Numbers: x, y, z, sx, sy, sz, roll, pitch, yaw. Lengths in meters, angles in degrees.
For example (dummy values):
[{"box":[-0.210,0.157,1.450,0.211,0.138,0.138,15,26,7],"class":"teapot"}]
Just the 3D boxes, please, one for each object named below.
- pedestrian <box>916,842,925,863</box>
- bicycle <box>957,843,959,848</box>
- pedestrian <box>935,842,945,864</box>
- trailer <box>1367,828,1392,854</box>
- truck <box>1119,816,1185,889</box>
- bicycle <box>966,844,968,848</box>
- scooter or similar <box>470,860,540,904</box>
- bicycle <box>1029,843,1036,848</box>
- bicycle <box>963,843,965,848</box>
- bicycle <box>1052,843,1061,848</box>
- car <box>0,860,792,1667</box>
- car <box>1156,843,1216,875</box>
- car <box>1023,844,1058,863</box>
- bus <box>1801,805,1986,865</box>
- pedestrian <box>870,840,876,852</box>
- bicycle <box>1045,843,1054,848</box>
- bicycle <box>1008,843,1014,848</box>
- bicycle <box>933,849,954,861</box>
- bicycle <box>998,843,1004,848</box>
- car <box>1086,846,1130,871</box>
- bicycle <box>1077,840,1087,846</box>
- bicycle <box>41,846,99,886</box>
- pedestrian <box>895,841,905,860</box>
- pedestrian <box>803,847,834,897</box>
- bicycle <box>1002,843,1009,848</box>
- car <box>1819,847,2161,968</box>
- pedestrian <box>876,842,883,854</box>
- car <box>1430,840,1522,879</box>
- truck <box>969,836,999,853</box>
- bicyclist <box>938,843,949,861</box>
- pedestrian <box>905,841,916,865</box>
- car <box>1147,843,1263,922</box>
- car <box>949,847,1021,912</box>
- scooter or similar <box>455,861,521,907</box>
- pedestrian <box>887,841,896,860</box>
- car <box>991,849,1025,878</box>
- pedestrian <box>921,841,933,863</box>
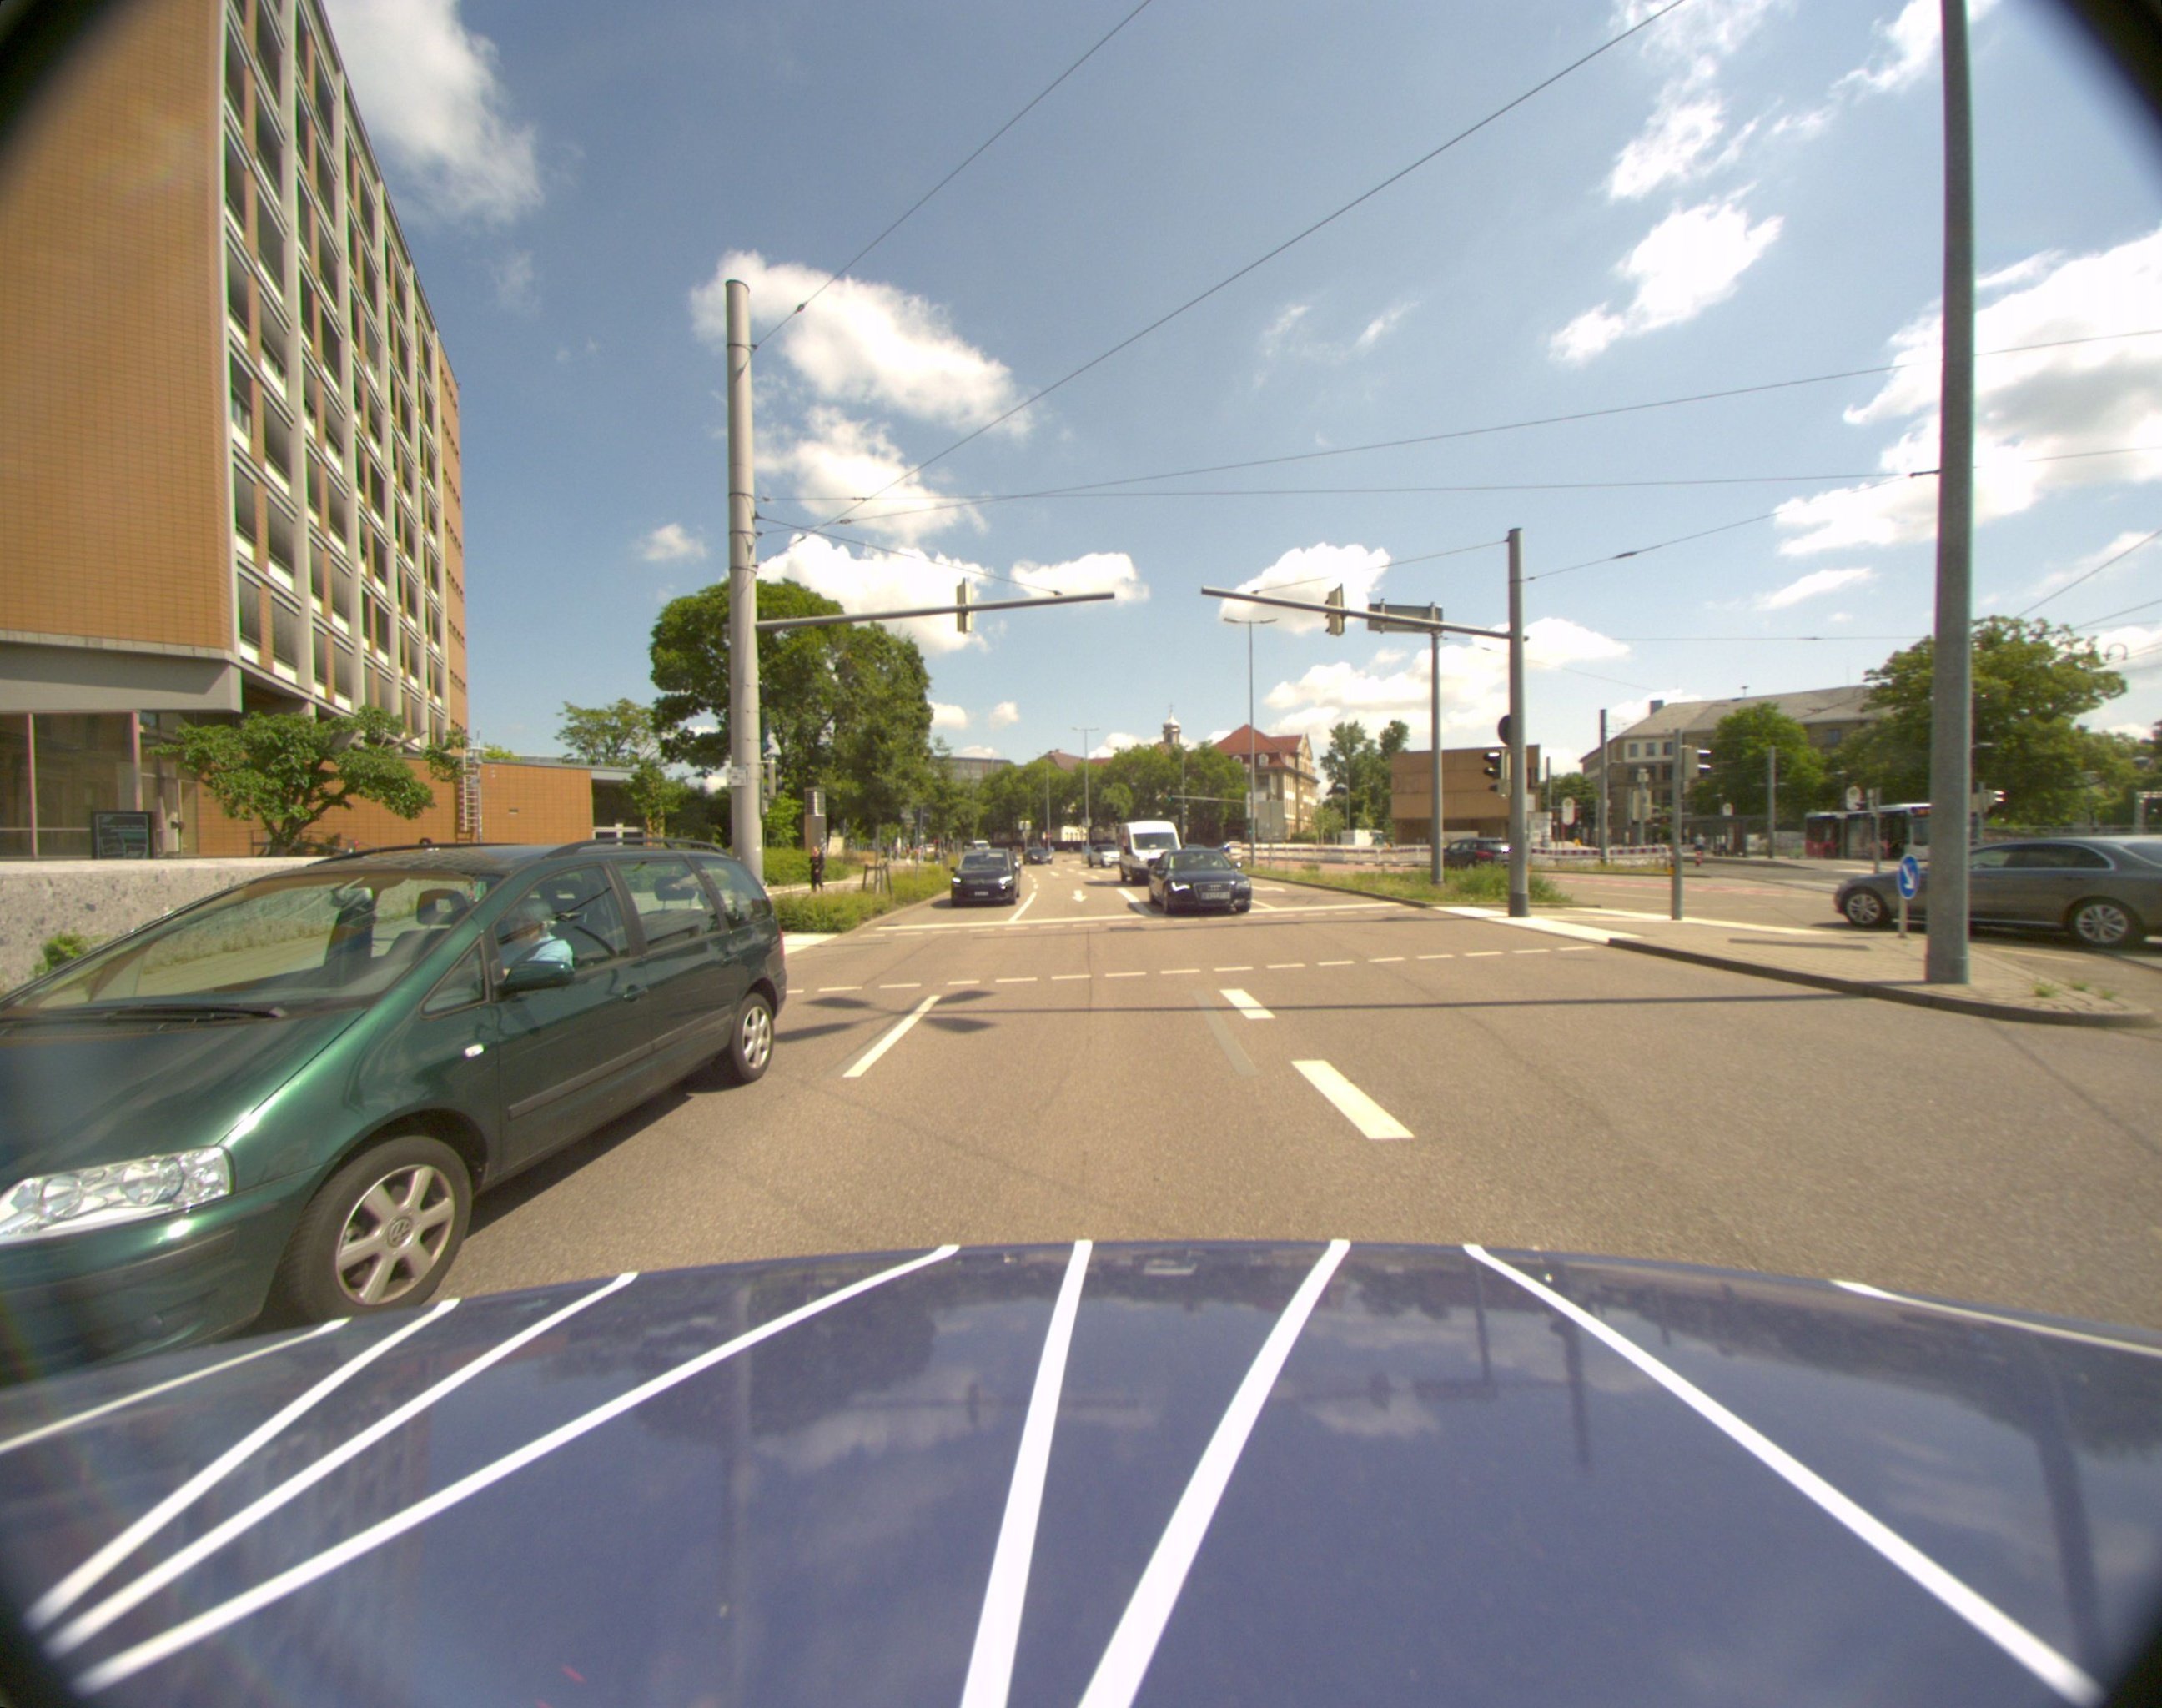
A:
[{"box":[-12.576,-0.092,59.473,0.589,1.617,0.726,-2,3,-18],"class":"pedestrian"},{"box":[-28.620,-1.953,176.827,0.329,1.012,1.669,-1,1,-5],"class":"bicycle"},{"box":[-11.050,-0.084,59.502,0.652,1.617,0.774,2,2,-3],"class":"pedestrian"},{"box":[36.093,-1.596,91.882,1.997,2.898,4.367,-1,2,10],"class":"trailer"},{"box":[2.756,-0.130,30.792,2.142,2.625,5.915,-2,2,1],"class":"truck"},{"box":[-25.854,-1.830,172.739,0.382,1.101,1.669,-1,1,-5],"class":"bicycle"},{"box":[-15.152,0.714,20.017,0.230,1.117,1.455,0,0,35],"class":"scooter or similar"},{"box":[-9.734,-1.762,153.281,1.635,1.037,0.399,1,2,44],"class":"bicycle"},{"box":[-26.799,-1.932,174.134,0.382,1.101,1.669,-1,1,-5],"class":"bicycle"},{"box":[-4.773,-1.652,148.271,1.952,1.037,0.399,1,2,44],"class":"bicycle"},{"box":[-3.252,0.938,3.809,1.799,1.713,4.448,-1,0,1],"class":"car"},{"box":[5.038,0.215,37.077,1.753,1.426,4.516,-2,1,-8],"class":"car"},{"box":[-3.489,-0.084,64.338,1.754,1.496,4.512,-3,2,-18],"class":"car"},{"box":[43.814,-1.166,41.664,2.588,2.844,12.283,0,3,26],"class":"bus"},{"box":[-29.722,-1.111,108.754,0.669,1.736,0.608,0,1,-32],"class":"pedestrian"},{"box":[-6.214,-1.666,149.700,1.952,1.037,0.399,1,2,44],"class":"bicycle"},{"box":[-14.718,-1.809,158.714,0.399,1.037,1.579,-2,2,-41],"class":"bicycle"},{"box":[-12.378,0.106,68.332,1.817,1.044,0.590,2,2,-20],"class":"bicycle"},{"box":[-16.970,-1.872,161.312,0.378,1.037,1.412,-2,2,-41],"class":"bicycle"},{"box":[1.787,0.288,52.050,1.753,1.496,4.513,-3,2,-14],"class":"car"},{"box":[0.137,-2.103,144.134,2.033,1.131,0.399,0,2,39],"class":"bicycle"},{"box":[-28.242,0.312,21.249,0.375,1.029,1.877,-3,4,-36],"class":"bicycle"},{"box":[-16.445,-0.315,69.083,0.753,1.792,0.608,0,1,-20],"class":"pedestrian"},{"box":[-8.755,0.587,25.372,0.758,1.581,0.761,-2,3,-3],"class":"pedestrian"},{"box":[-15.928,-1.854,160.095,0.399,1.037,1.756,-2,2,-41],"class":"bicycle"},{"box":[13.626,0.617,10.789,1.657,1.384,4.774,-1,1,0],"class":"car"},{"box":[-29.001,-0.835,109.242,0.753,1.767,0.879,0,1,-32],"class":"pedestrian"},{"box":[16.118,0.175,31.216,1.657,1.460,4.153,-1,1,1],"class":"car"},{"box":[-13.920,-1.344,108.553,2.466,2.288,5.802,-4,2,-26],"class":"truck"},{"box":[-12.361,-0.183,68.326,0.831,1.592,0.578,1,2,-20],"class":"bicyclist"},{"box":[-13.279,-0.092,59.236,0.759,1.811,0.637,-2,3,-18],"class":"pedestrian"},{"box":[2.808,0.570,18.313,1.933,1.632,4.791,-1,1,-1],"class":"car"},{"box":[-2.821,0.673,22.938,1.863,1.613,4.516,-3,2,-5],"class":"car"},{"box":[-14.912,0.737,19.126,0.230,1.117,1.285,0,0,35],"class":"scooter or similar"},{"box":[-17.088,-0.305,68.598,0.753,1.742,0.608,0,1,-20],"class":"pedestrian"},{"box":[-4.136,0.497,42.633,1.766,1.409,4.359,-3,2,-6],"class":"car"},{"box":[-12.927,-0.177,63.747,0.759,1.810,0.778,2,1,-24],"class":"pedestrian"}]
